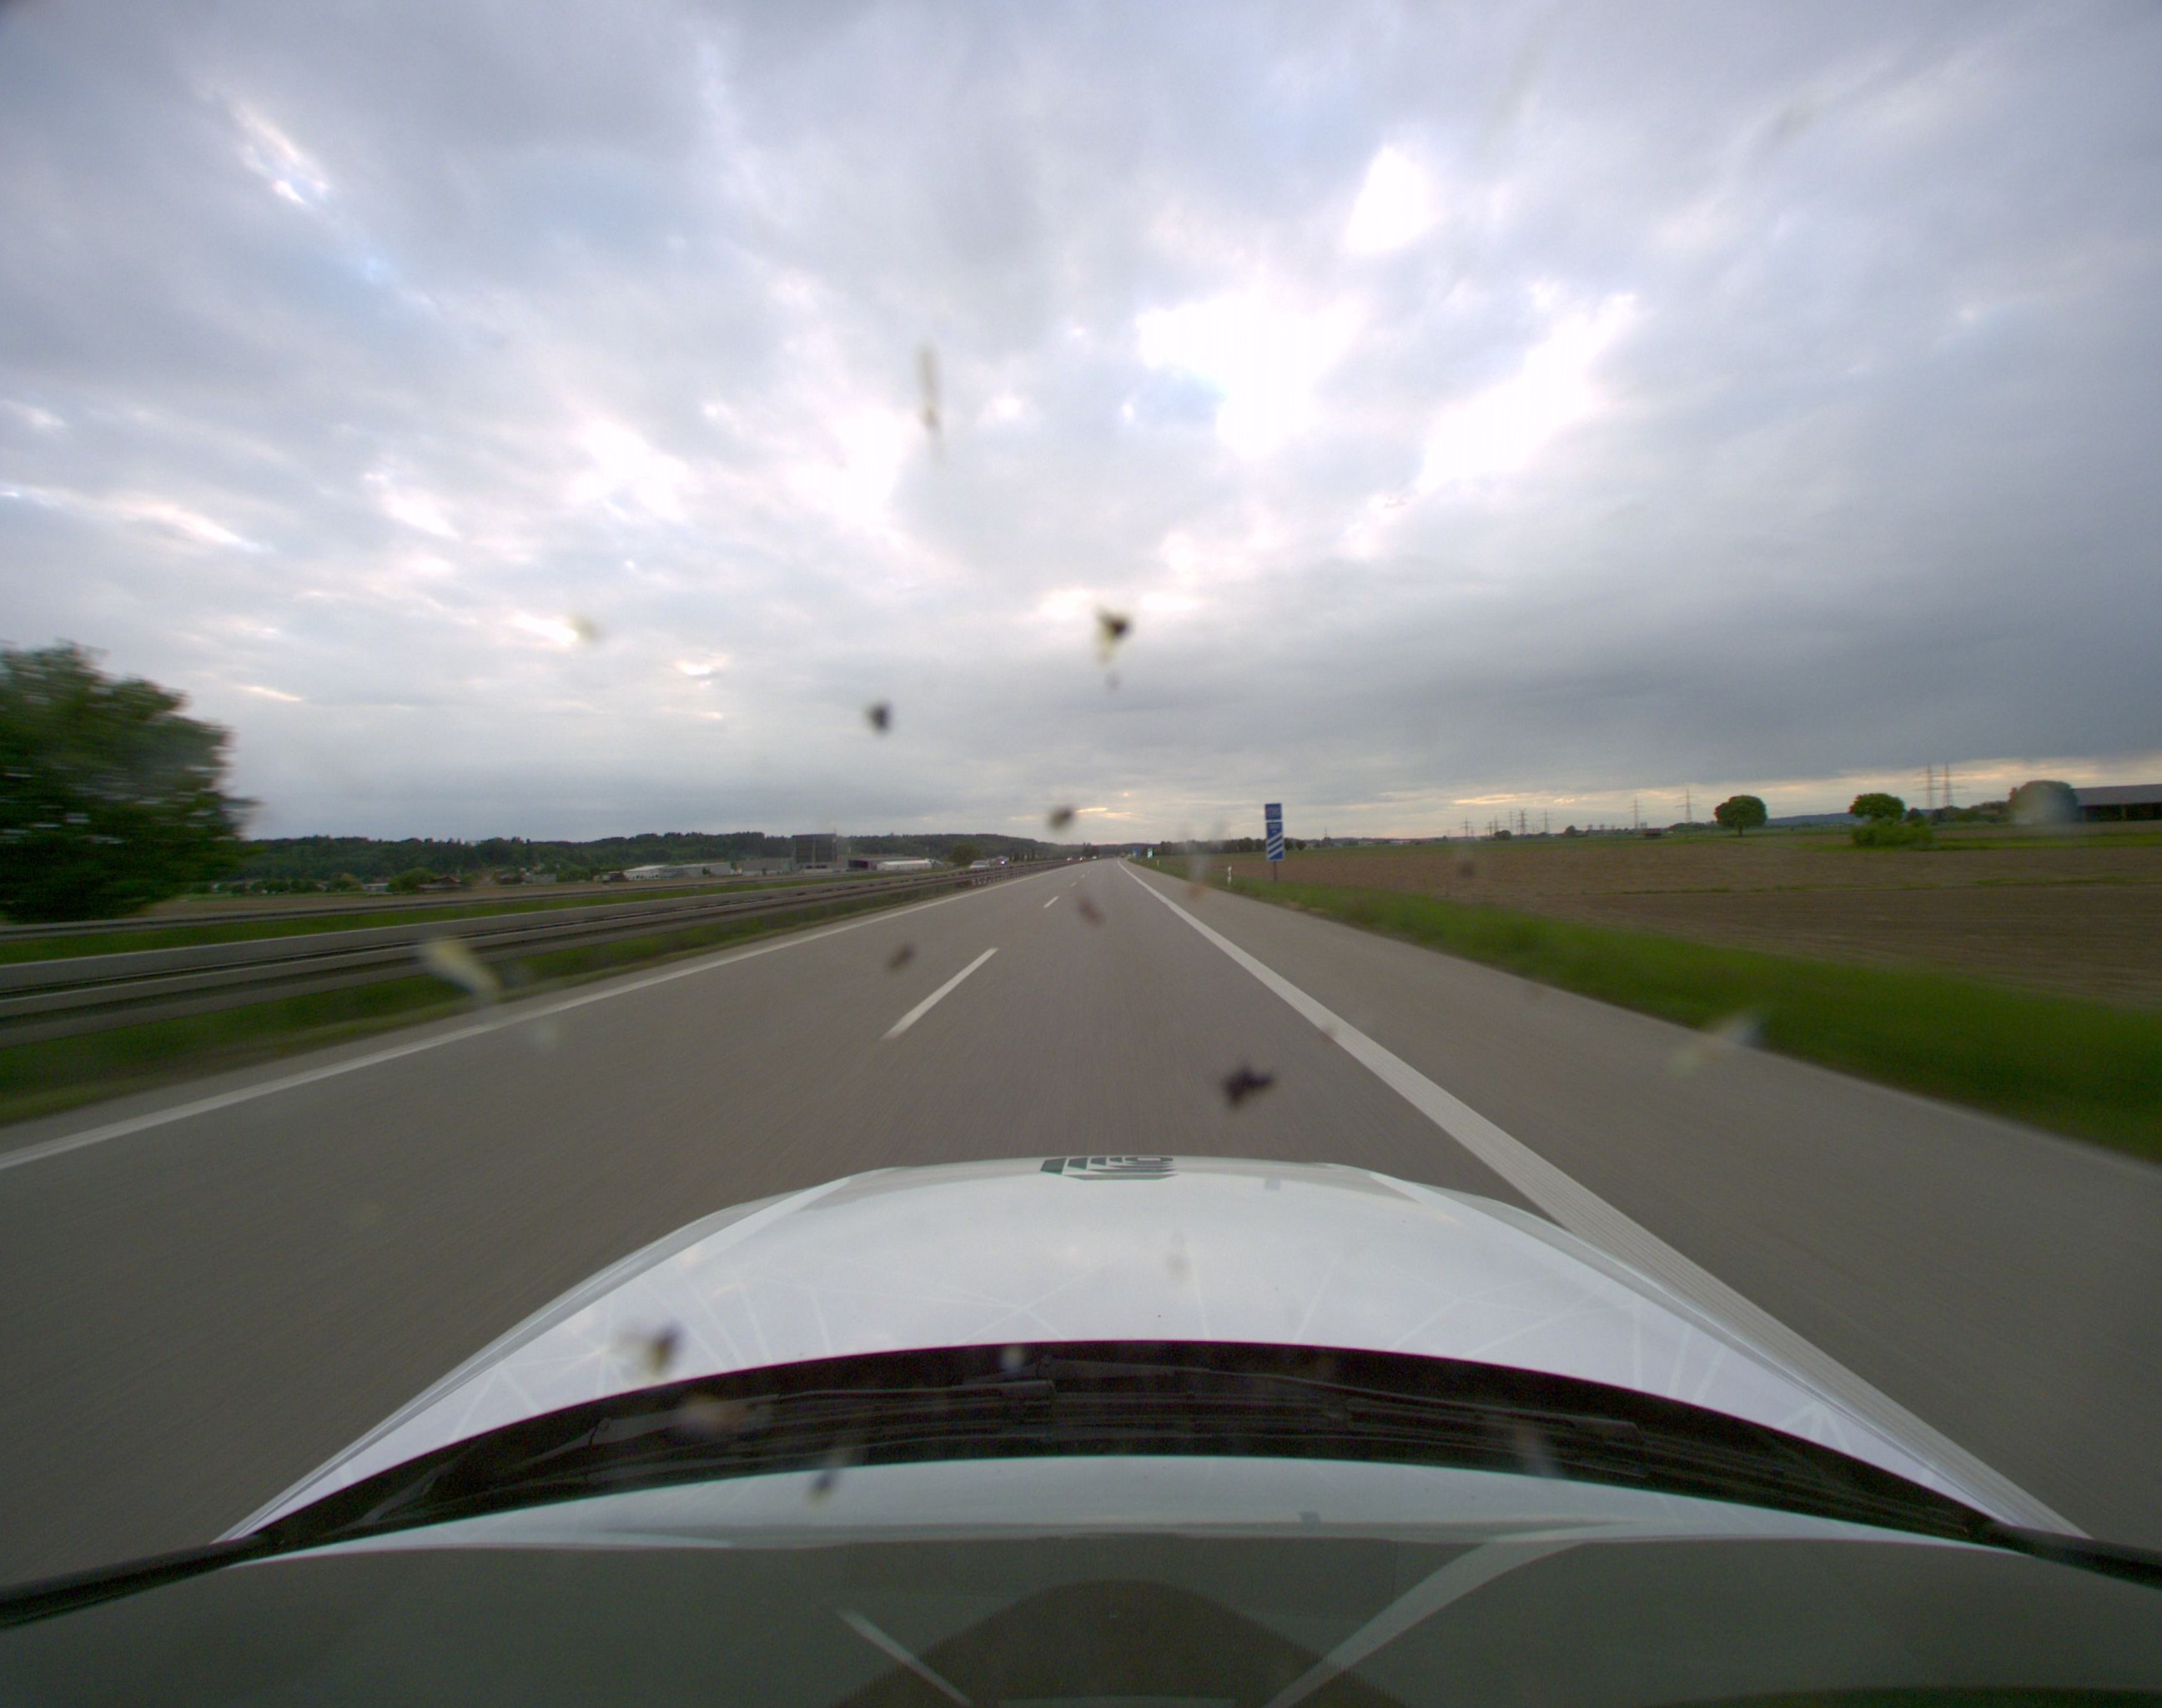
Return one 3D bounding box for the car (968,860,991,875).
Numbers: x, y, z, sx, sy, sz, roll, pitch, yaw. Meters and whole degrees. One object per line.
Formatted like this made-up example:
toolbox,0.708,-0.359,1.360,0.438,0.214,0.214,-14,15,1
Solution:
car,-10.827,1.417,87.354,1.734,1.574,4.858,0,0,2
